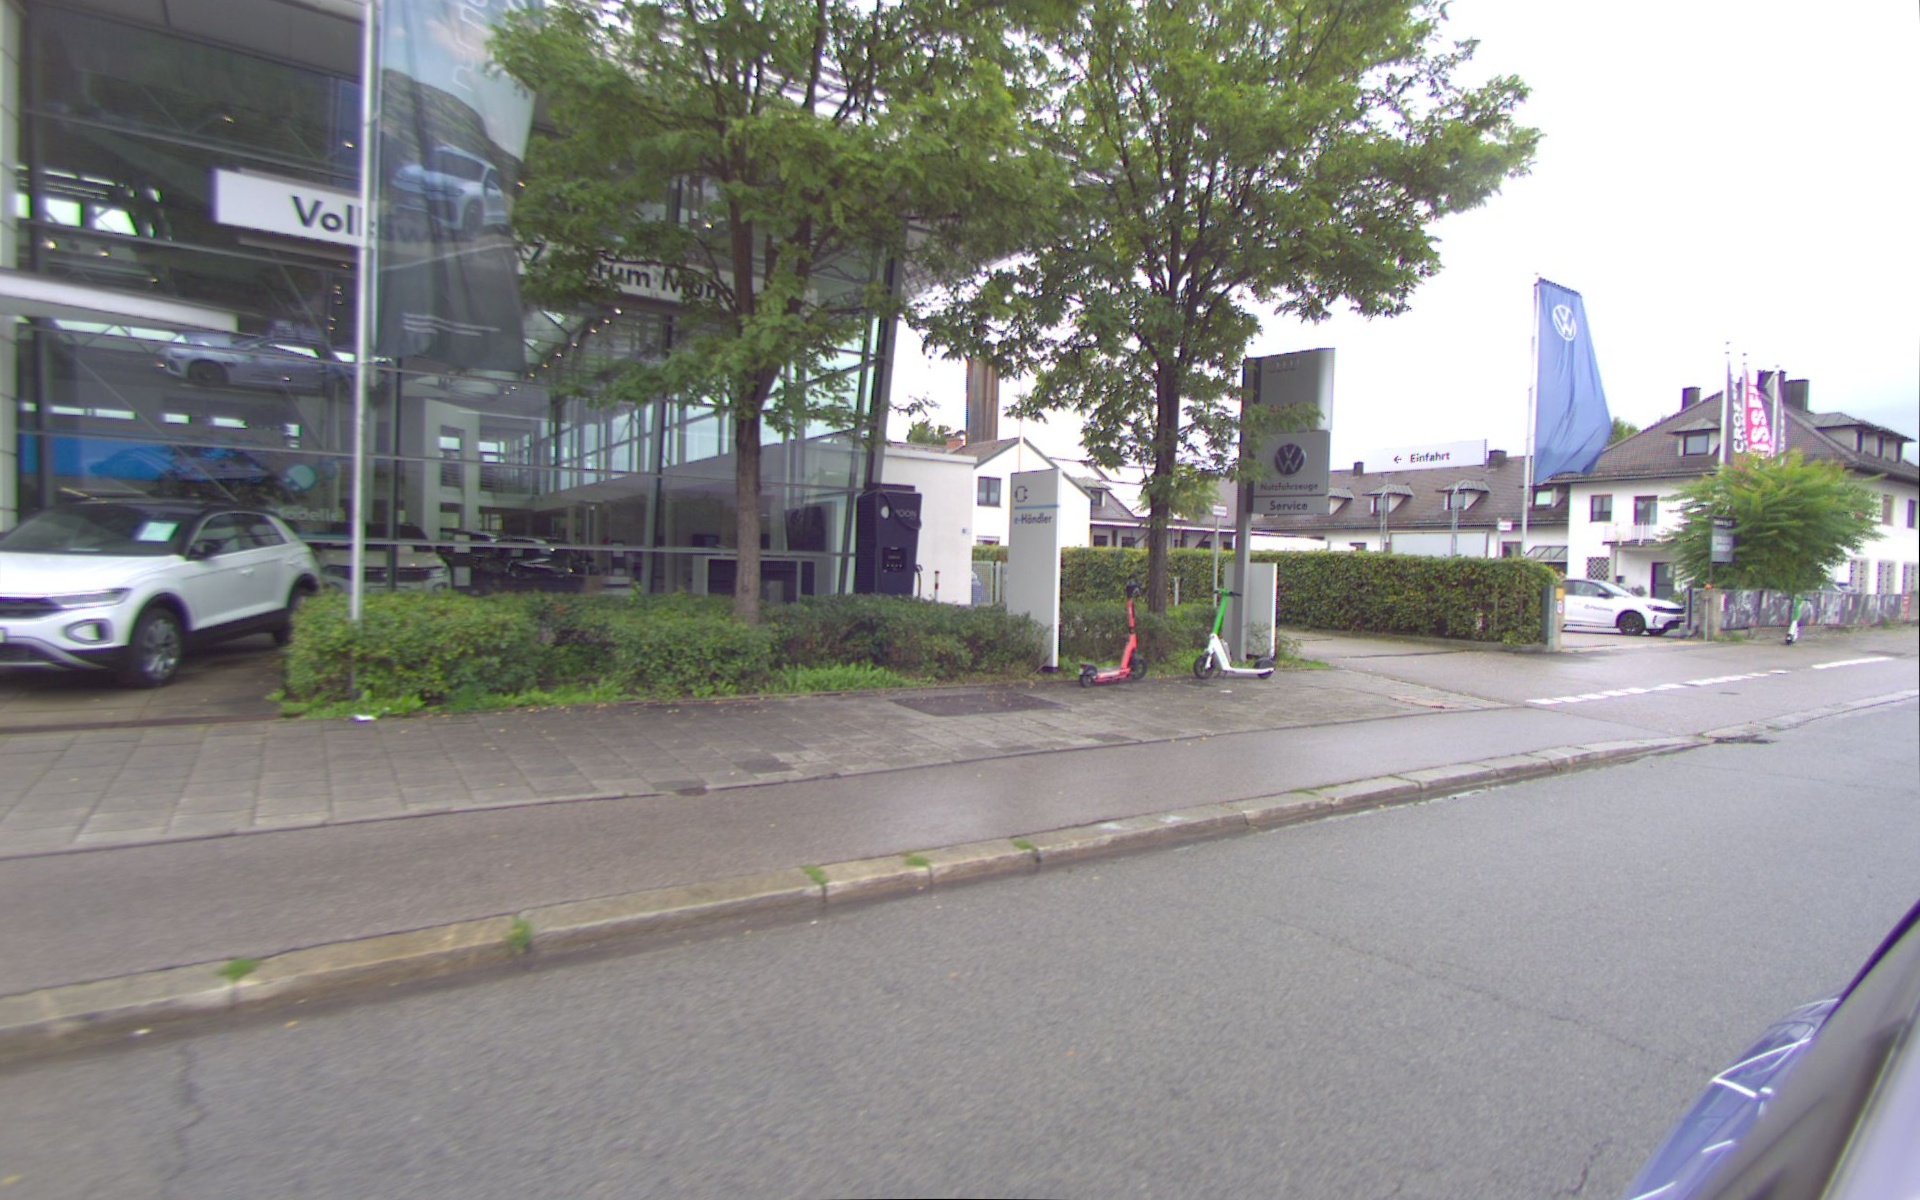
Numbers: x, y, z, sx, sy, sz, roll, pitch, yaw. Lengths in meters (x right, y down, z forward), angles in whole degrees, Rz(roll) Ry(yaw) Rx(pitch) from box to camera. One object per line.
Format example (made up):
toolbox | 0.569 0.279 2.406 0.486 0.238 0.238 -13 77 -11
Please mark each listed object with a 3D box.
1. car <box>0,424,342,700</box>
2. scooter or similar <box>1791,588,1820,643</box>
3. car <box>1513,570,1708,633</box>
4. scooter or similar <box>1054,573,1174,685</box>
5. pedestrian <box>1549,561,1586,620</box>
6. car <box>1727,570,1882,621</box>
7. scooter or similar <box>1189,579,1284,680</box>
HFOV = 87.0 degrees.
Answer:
car | -7.767 -0.441 9.512 1.922 2.037 4.272 1 4 -10
scooter or similar | 20.774 0.361 24.861 0.397 1.237 1.615 6 6 42
car | 17.430 -0.009 27.292 1.759 1.478 4.029 0 2 -34
scooter or similar | 1.830 0.329 11.972 1.403 1.219 0.497 1 4 -38
pedestrian | 20.135 -0.333 33.529 0.915 1.925 0.735 0 2 -39
car | 31.581 -0.201 37.960 1.891 1.747 4.110 0 2 -36
scooter or similar | 3.634 0.352 13.266 1.406 1.219 0.496 -1 6 -44
